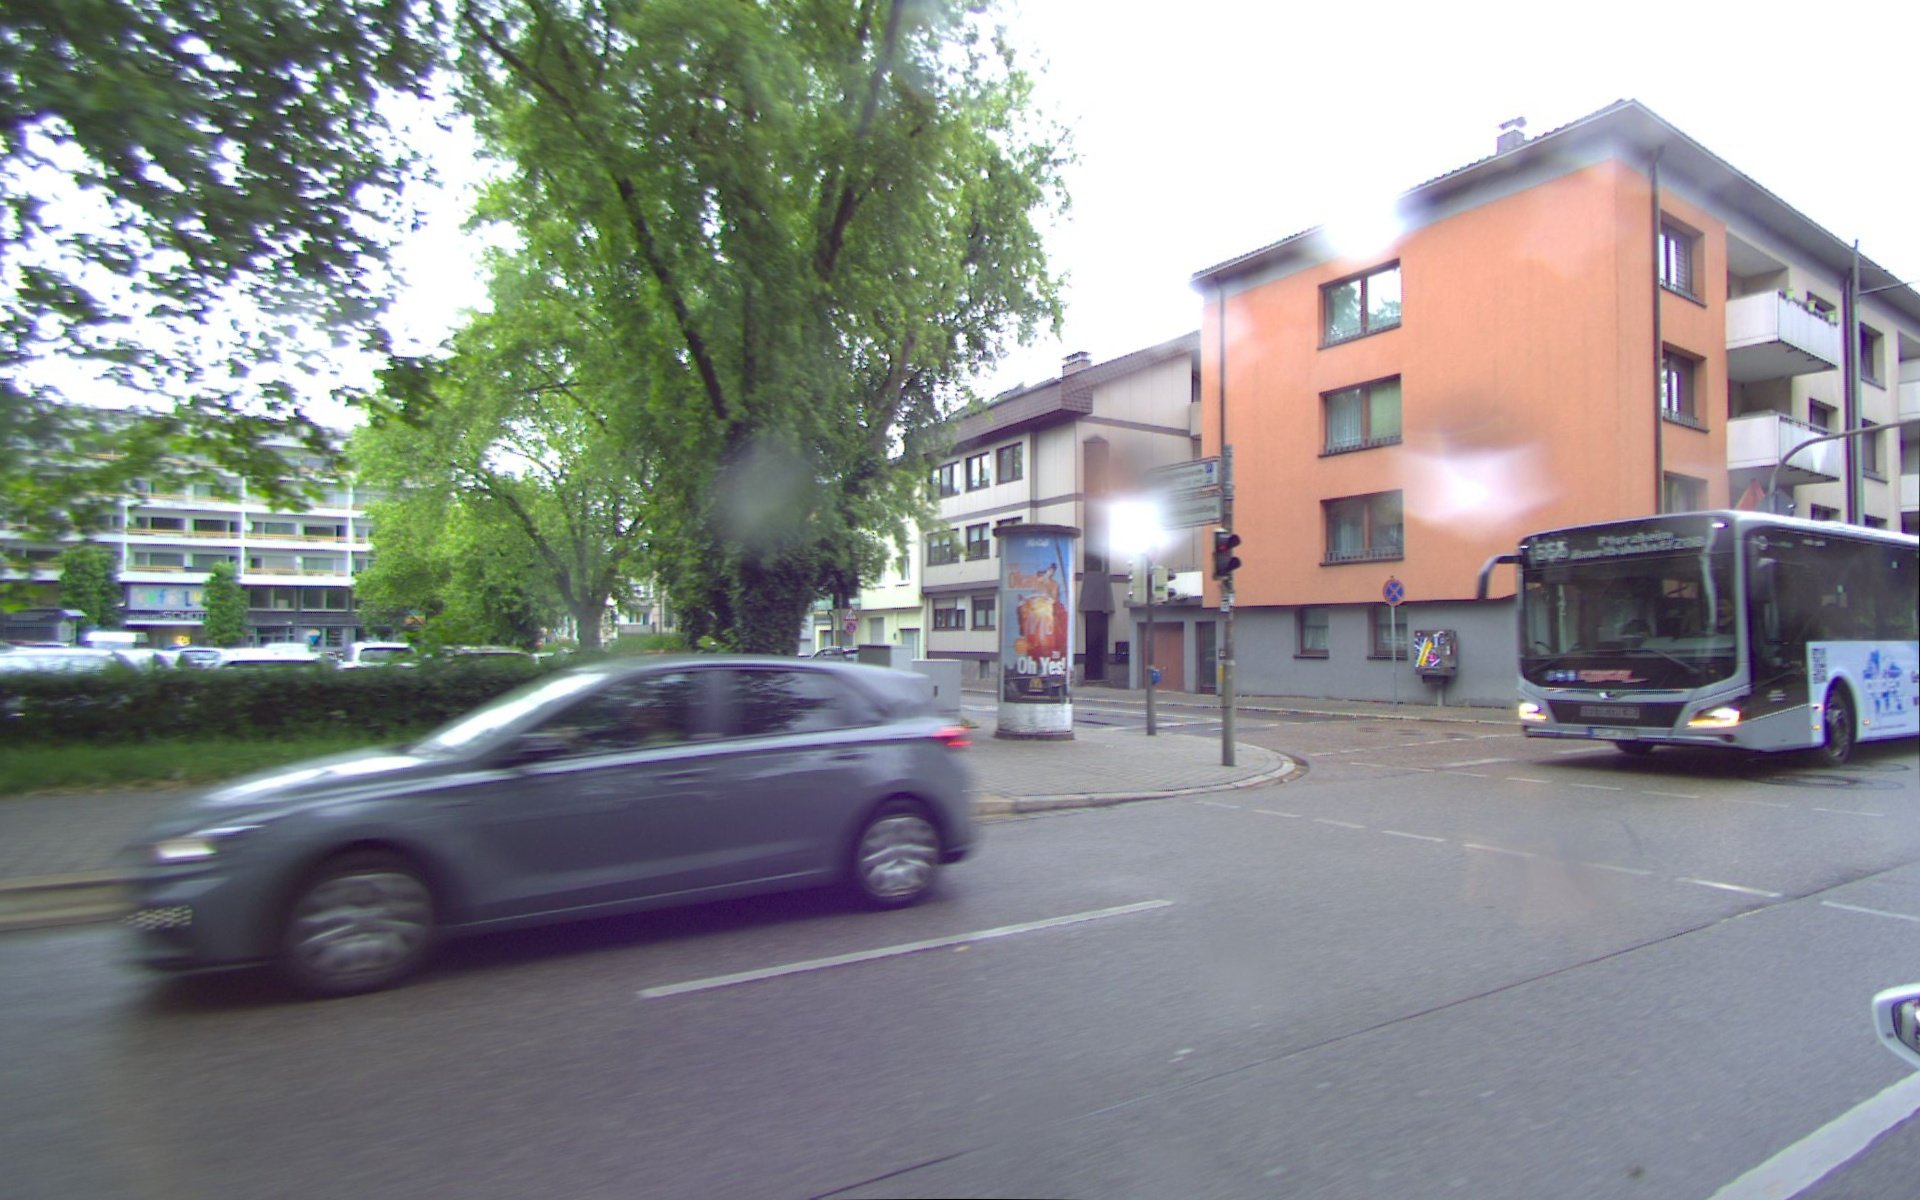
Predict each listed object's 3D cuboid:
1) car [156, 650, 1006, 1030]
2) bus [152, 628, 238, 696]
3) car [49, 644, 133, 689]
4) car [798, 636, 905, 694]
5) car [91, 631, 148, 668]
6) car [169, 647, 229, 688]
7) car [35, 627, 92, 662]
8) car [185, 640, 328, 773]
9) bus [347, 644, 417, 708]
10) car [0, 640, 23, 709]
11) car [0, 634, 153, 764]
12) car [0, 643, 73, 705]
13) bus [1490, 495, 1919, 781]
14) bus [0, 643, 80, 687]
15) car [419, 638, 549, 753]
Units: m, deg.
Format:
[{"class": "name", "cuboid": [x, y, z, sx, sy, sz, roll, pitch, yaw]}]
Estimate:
[{"class": "car", "cuboid": [-1.883, 1.033, 5.734, 3.986, 1.435, 1.799, 1, -4, -32]}, {"class": "bus", "cuboid": [-20.227, 1.632, 26.644, 1.364, 1.698, 2.778, 2, -3, -29]}, {"class": "car", "cuboid": [-29.535, 2.245, 34.221, 1.588, 1.446, 3.292, 2, -3, -31]}, {"class": "car", "cuboid": [-3.488, 2.030, 31.701, 1.976, 1.683, 3.970, 2, -4, -29]}, {"class": "car", "cuboid": [-39.236, 2.276, 46.945, 1.623, 1.544, 3.173, 2, -1, -33]}, {"class": "car", "cuboid": [-27.089, 2.386, 35.831, 1.333, 1.401, 3.140, 2, -3, -31]}, {"class": "car", "cuboid": [-45.153, 2.216, 50.646, 1.623, 1.544, 3.173, 2, 0, -33]}, {"class": "car", "cuboid": [-9.991, 1.422, 14.434, 1.492, 1.544, 3.173, 2, -1, -33]}, {"class": "bus", "cuboid": [-13.982, 1.789, 24.253, 1.365, 1.451, 2.776, 2, -3, -31]}, {"class": "car", "cuboid": [-20.713, 1.540, 20.644, 1.375, 1.454, 3.247, 1, -3, -30]}, {"class": "car", "cuboid": [-12.786, 1.328, 14.409, 1.492, 1.544, 3.173, 2, -1, -33]}, {"class": "car", "cuboid": [-23.467, 1.813, 25.010, 1.375, 1.454, 3.247, 1, -3, -30]}, {"class": "bus", "cuboid": [12.530, 0.606, 14.840, 11.647, 3.013, 2.753, 2, -3, -31]}, {"class": "bus", "cuboid": [-34.289, 2.400, 37.464, 1.588, 1.559, 3.402, 2, -3, -31]}, {"class": "car", "cuboid": [-7.798, 1.463, 16.338, 1.492, 1.544, 3.173, 2, -1, -33]}]
